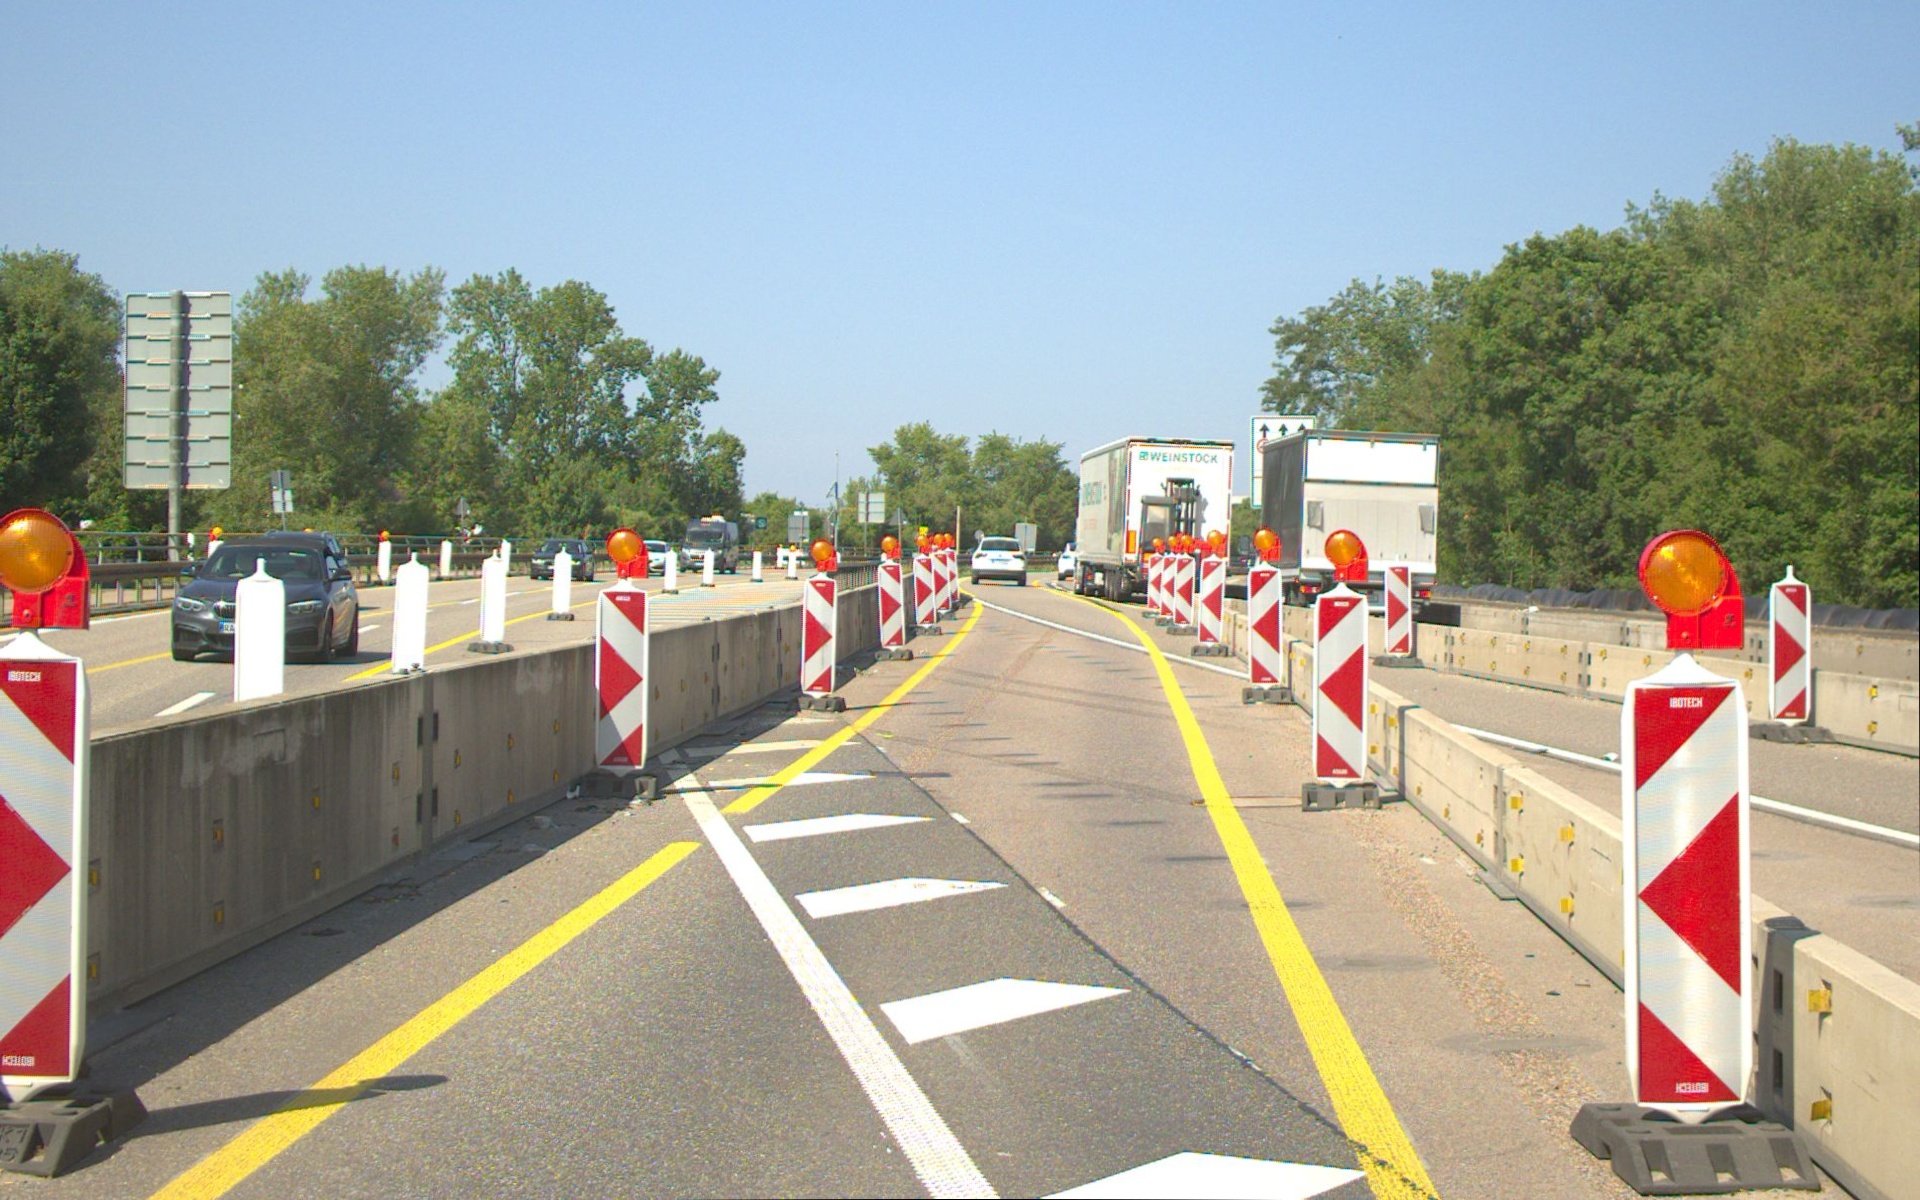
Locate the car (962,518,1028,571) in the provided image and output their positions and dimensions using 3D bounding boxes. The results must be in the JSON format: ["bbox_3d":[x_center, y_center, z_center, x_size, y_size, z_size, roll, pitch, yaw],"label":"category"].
[{"bbox_3d":[1.166,-1.863,115.345,1.816,1.770,4.001,0,1,-5],"label":"car"}]

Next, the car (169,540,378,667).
[{"bbox_3d":[-7.900,0.007,39.877,1.689,1.371,4.273,1,1,-2],"label":"car"}]

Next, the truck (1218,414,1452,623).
[{"bbox_3d":[6.513,-1.431,60.774,2.634,3.416,7.234,1,1,-5],"label":"truck"}]

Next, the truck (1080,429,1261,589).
[{"bbox_3d":[5.117,-2.204,84.958,3.388,3.761,7.234,0,1,-5],"label":"truck"}]

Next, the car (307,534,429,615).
[{"bbox_3d":[-11.165,-0.508,65.123,1.667,1.437,4.997,1,1,-3],"label":"car"}]

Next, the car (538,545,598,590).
[{"bbox_3d":[-13.359,-1.114,117.242,1.737,1.471,4.646,1,1,-3],"label":"car"}]

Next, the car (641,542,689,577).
[{"bbox_3d":[-12.215,-1.682,142.421,1.719,1.392,4.520,2,1,-2],"label":"car"}]

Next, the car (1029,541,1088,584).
[{"bbox_3d":[4.075,-1.561,143.288,1.993,1.770,4.001,0,1,-5],"label":"car"}]
